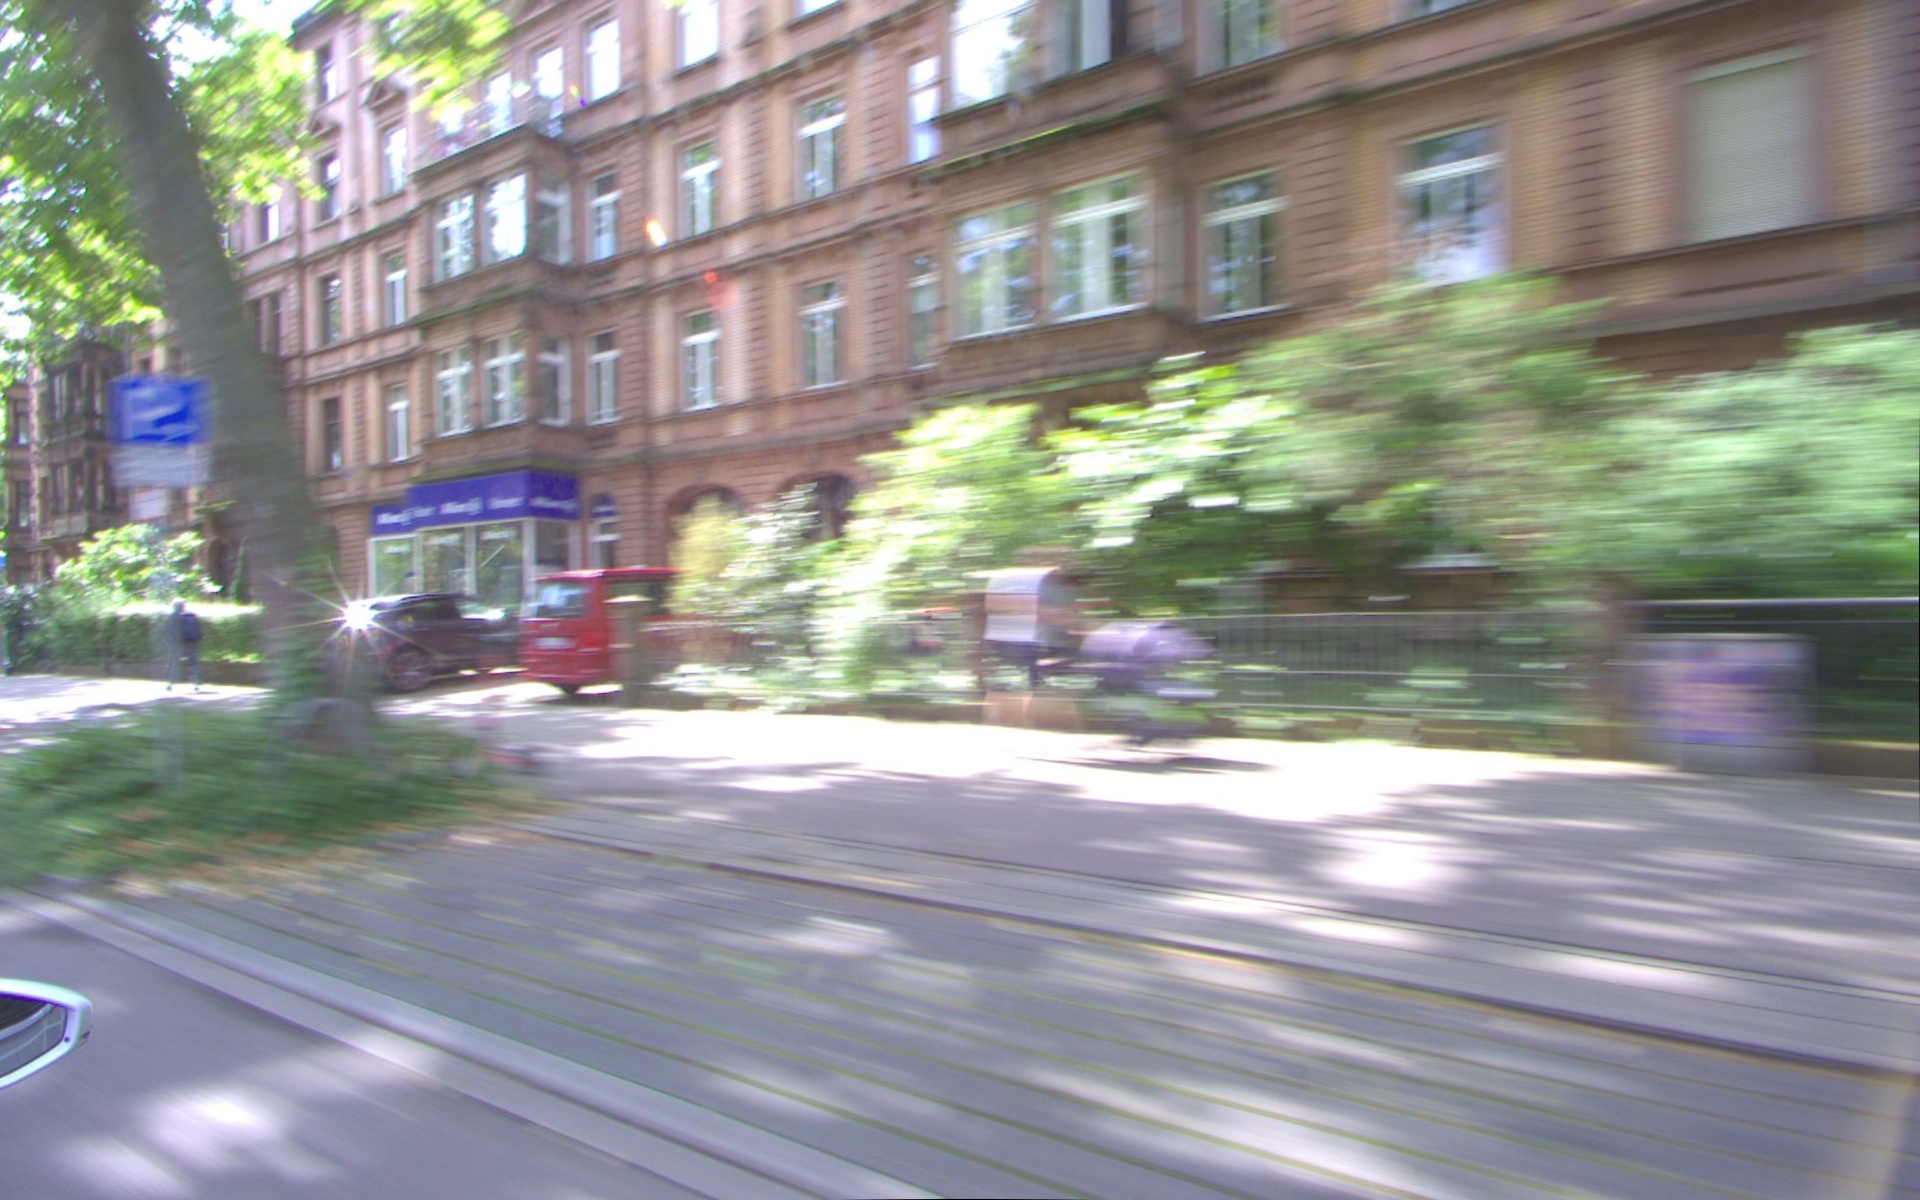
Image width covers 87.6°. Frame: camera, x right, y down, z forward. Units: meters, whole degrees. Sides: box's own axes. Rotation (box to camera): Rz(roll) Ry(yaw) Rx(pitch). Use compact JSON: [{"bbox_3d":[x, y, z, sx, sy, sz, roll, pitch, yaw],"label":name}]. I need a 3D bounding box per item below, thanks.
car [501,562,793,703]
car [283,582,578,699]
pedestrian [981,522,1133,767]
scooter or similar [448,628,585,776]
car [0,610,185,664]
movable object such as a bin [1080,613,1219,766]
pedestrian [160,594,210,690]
[{"bbox_3d":[-5.037,0.413,16.733,1.955,1.966,4.384,0,3,32],"label":"car"},{"bbox_3d":[-9.882,0.652,19.178,1.973,1.807,4.718,-1,2,24],"label":"car"},{"bbox_3d":[0.878,0.367,8.928,1.102,2.041,0.763,0,3,28],"label":"pedestrian"},{"bbox_3d":[-3.973,0.873,8.954,1.304,1.227,0.466,-1,0,32],"label":"scooter or similar"},{"bbox_3d":[-27.441,1.123,31.674,1.914,1.489,4.224,-1,1,32],"label":"car"},{"bbox_3d":[1.648,0.742,8.675,1.042,1.226,0.606,-1,2,27],"label":"movable object such as a bin"},{"bbox_3d":[-14.960,0.797,19.326,0.621,1.810,0.563,0,0,32],"label":"pedestrian"}]
